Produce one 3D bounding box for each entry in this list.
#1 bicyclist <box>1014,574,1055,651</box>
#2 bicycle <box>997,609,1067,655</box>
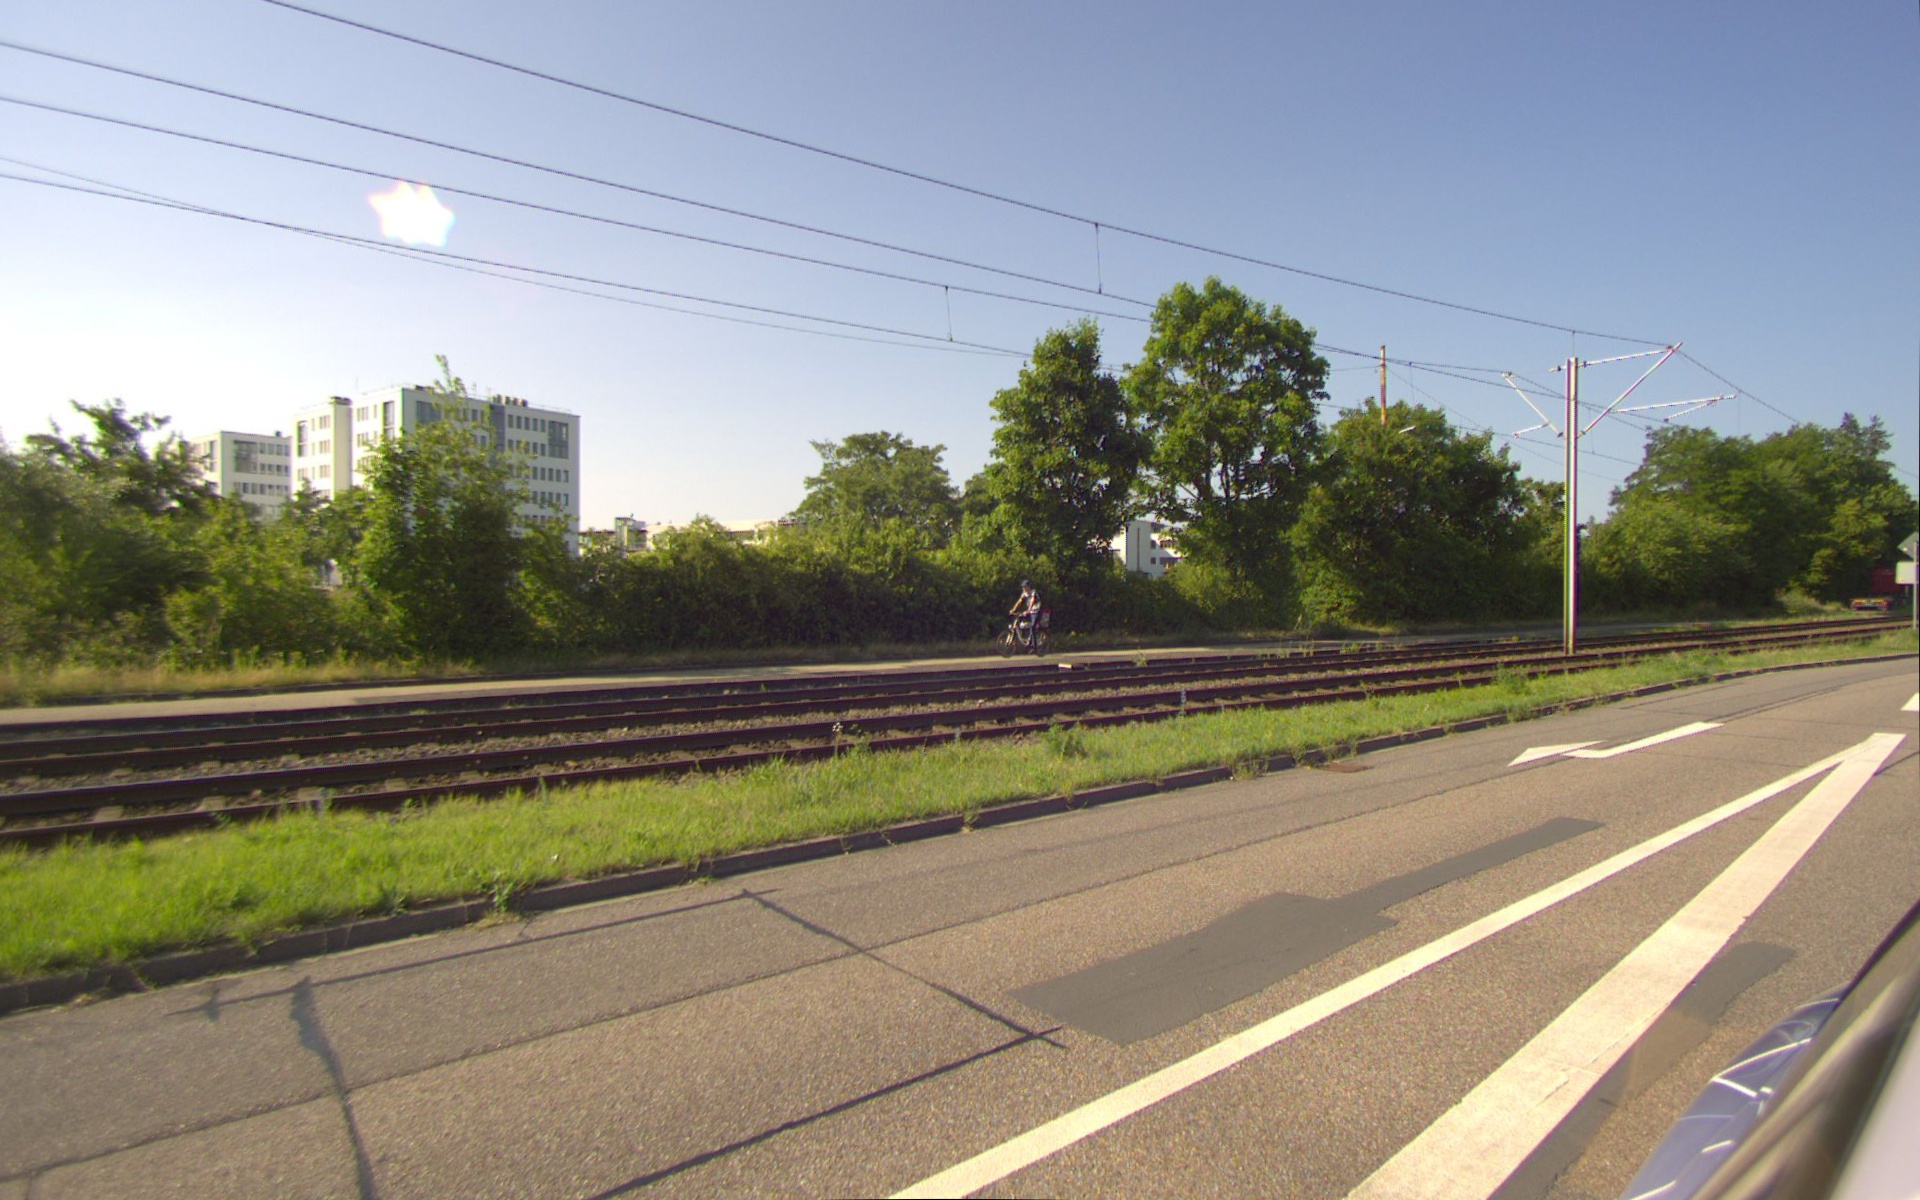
[{"bbox_3d":[1.813,0.290,24.742,0.704,1.830,0.708,0,0,-38],"label":"bicyclist"},{"bbox_3d":[1.774,0.762,24.702,1.840,1.060,0.547,-1,1,-38],"label":"bicycle"}]
